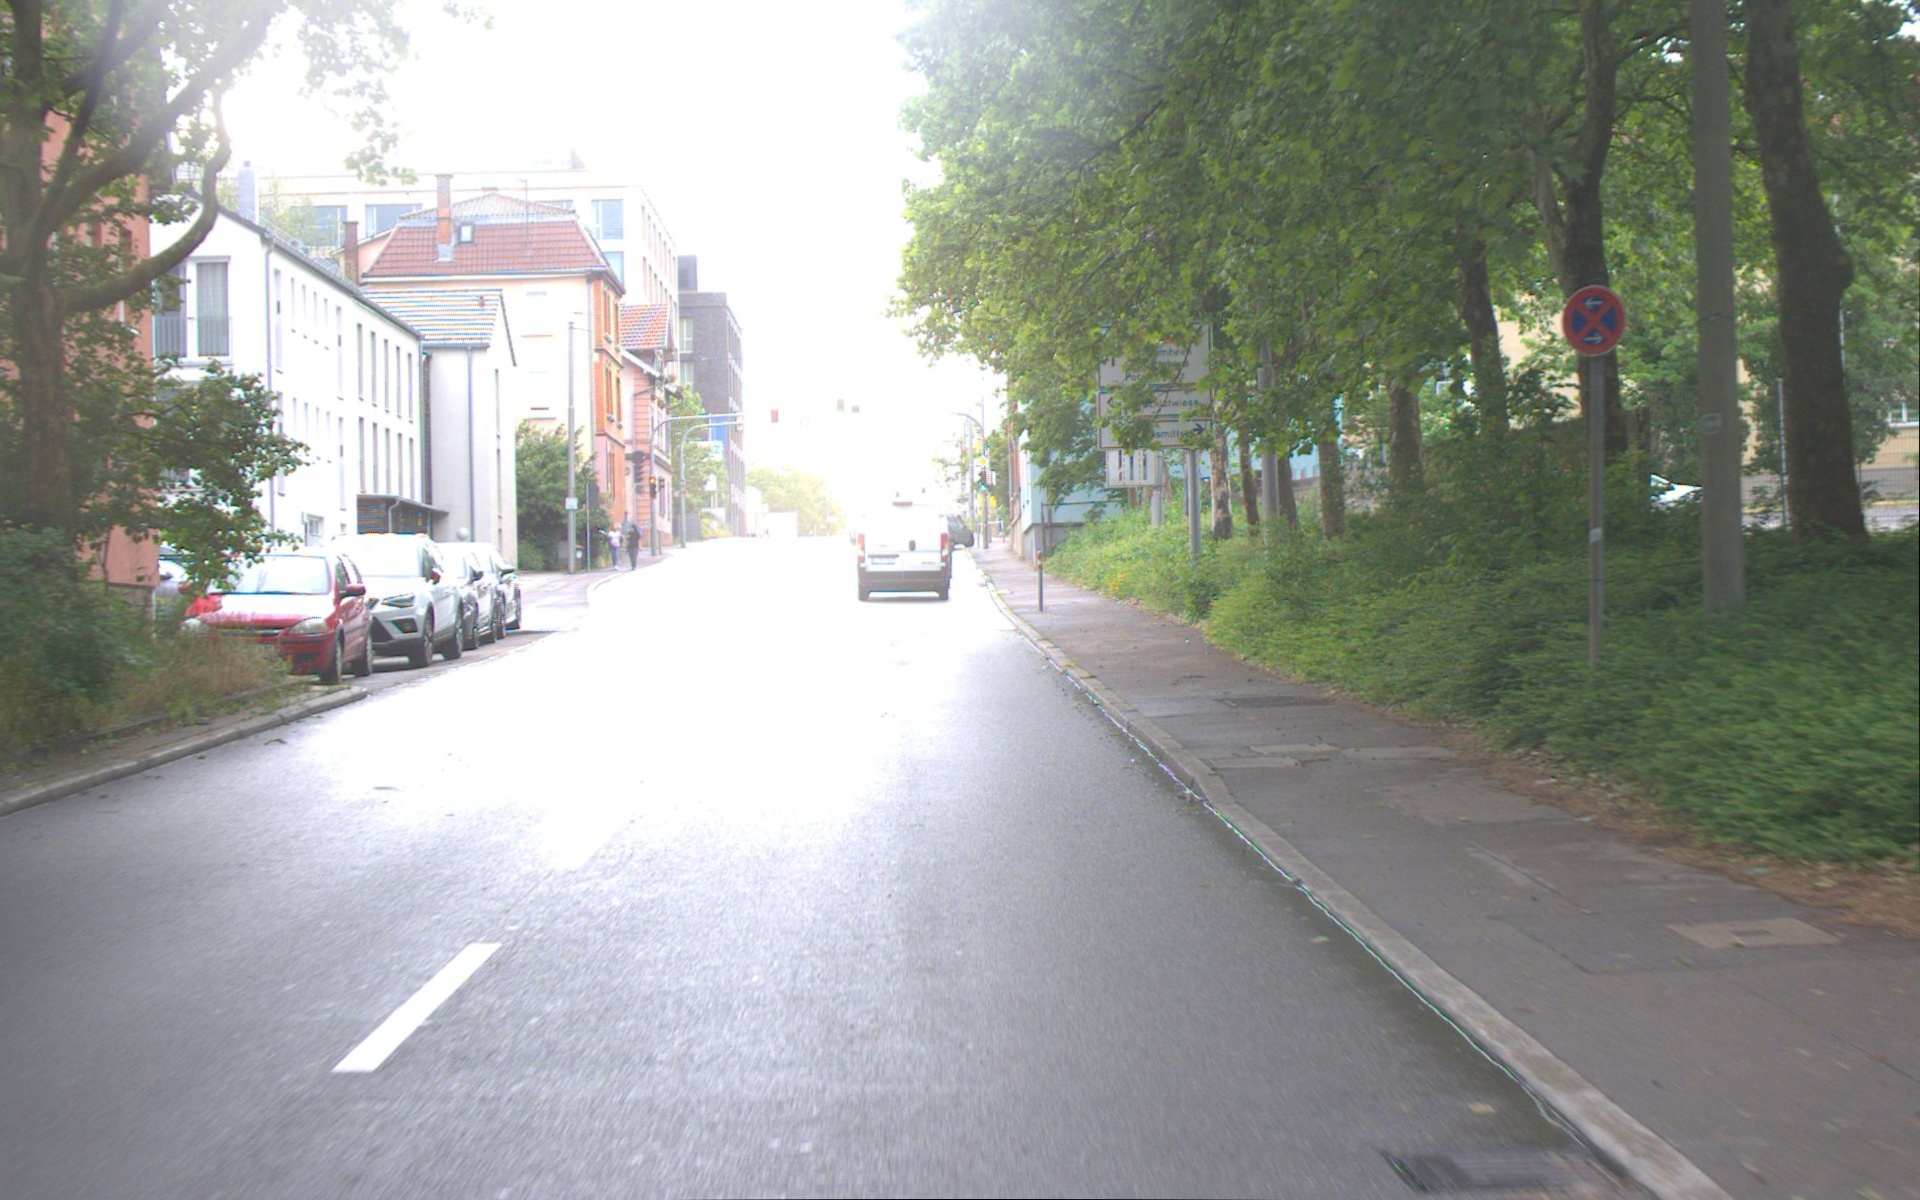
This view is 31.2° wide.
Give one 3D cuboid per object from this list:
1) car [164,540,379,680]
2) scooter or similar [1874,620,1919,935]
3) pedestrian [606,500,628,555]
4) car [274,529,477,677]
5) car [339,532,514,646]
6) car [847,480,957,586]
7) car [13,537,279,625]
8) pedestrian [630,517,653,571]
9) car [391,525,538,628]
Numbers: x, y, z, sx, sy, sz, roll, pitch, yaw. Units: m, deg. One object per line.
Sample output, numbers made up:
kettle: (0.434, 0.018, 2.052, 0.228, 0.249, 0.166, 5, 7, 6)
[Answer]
car: (-7.139, 0.067, 35.959, 1.638, 1.369, 3.759, 0, 1, -3)
scooter or similar: (3.694, 0.639, 12.184, 0.425, 1.138, 1.529, 1, -1, -3)
pedestrian: (-12.684, -2.681, 127.211, 0.671, 2.007, 0.941, 0, 1, 3)
car: (-6.970, -0.008, 41.365, 1.691, 1.536, 4.118, -3, 2, 0)
car: (-7.310, -0.184, 47.467, 1.743, 1.477, 4.386, -1, 1, -1)
car: (-1.275, -1.481, 77.254, 2.336, 2.223, 4.000, -2, 0, 0)
car: (-14.675, -0.355, 62.165, 4.289, 1.458, 2.069, -1, 1, 0)
pedestrian: (-11.784, -2.074, 127.202, 0.671, 2.007, 0.941, 0, 1, 3)
car: (-7.514, -0.375, 52.490, 1.635, 1.477, 4.359, 1, 1, -1)
